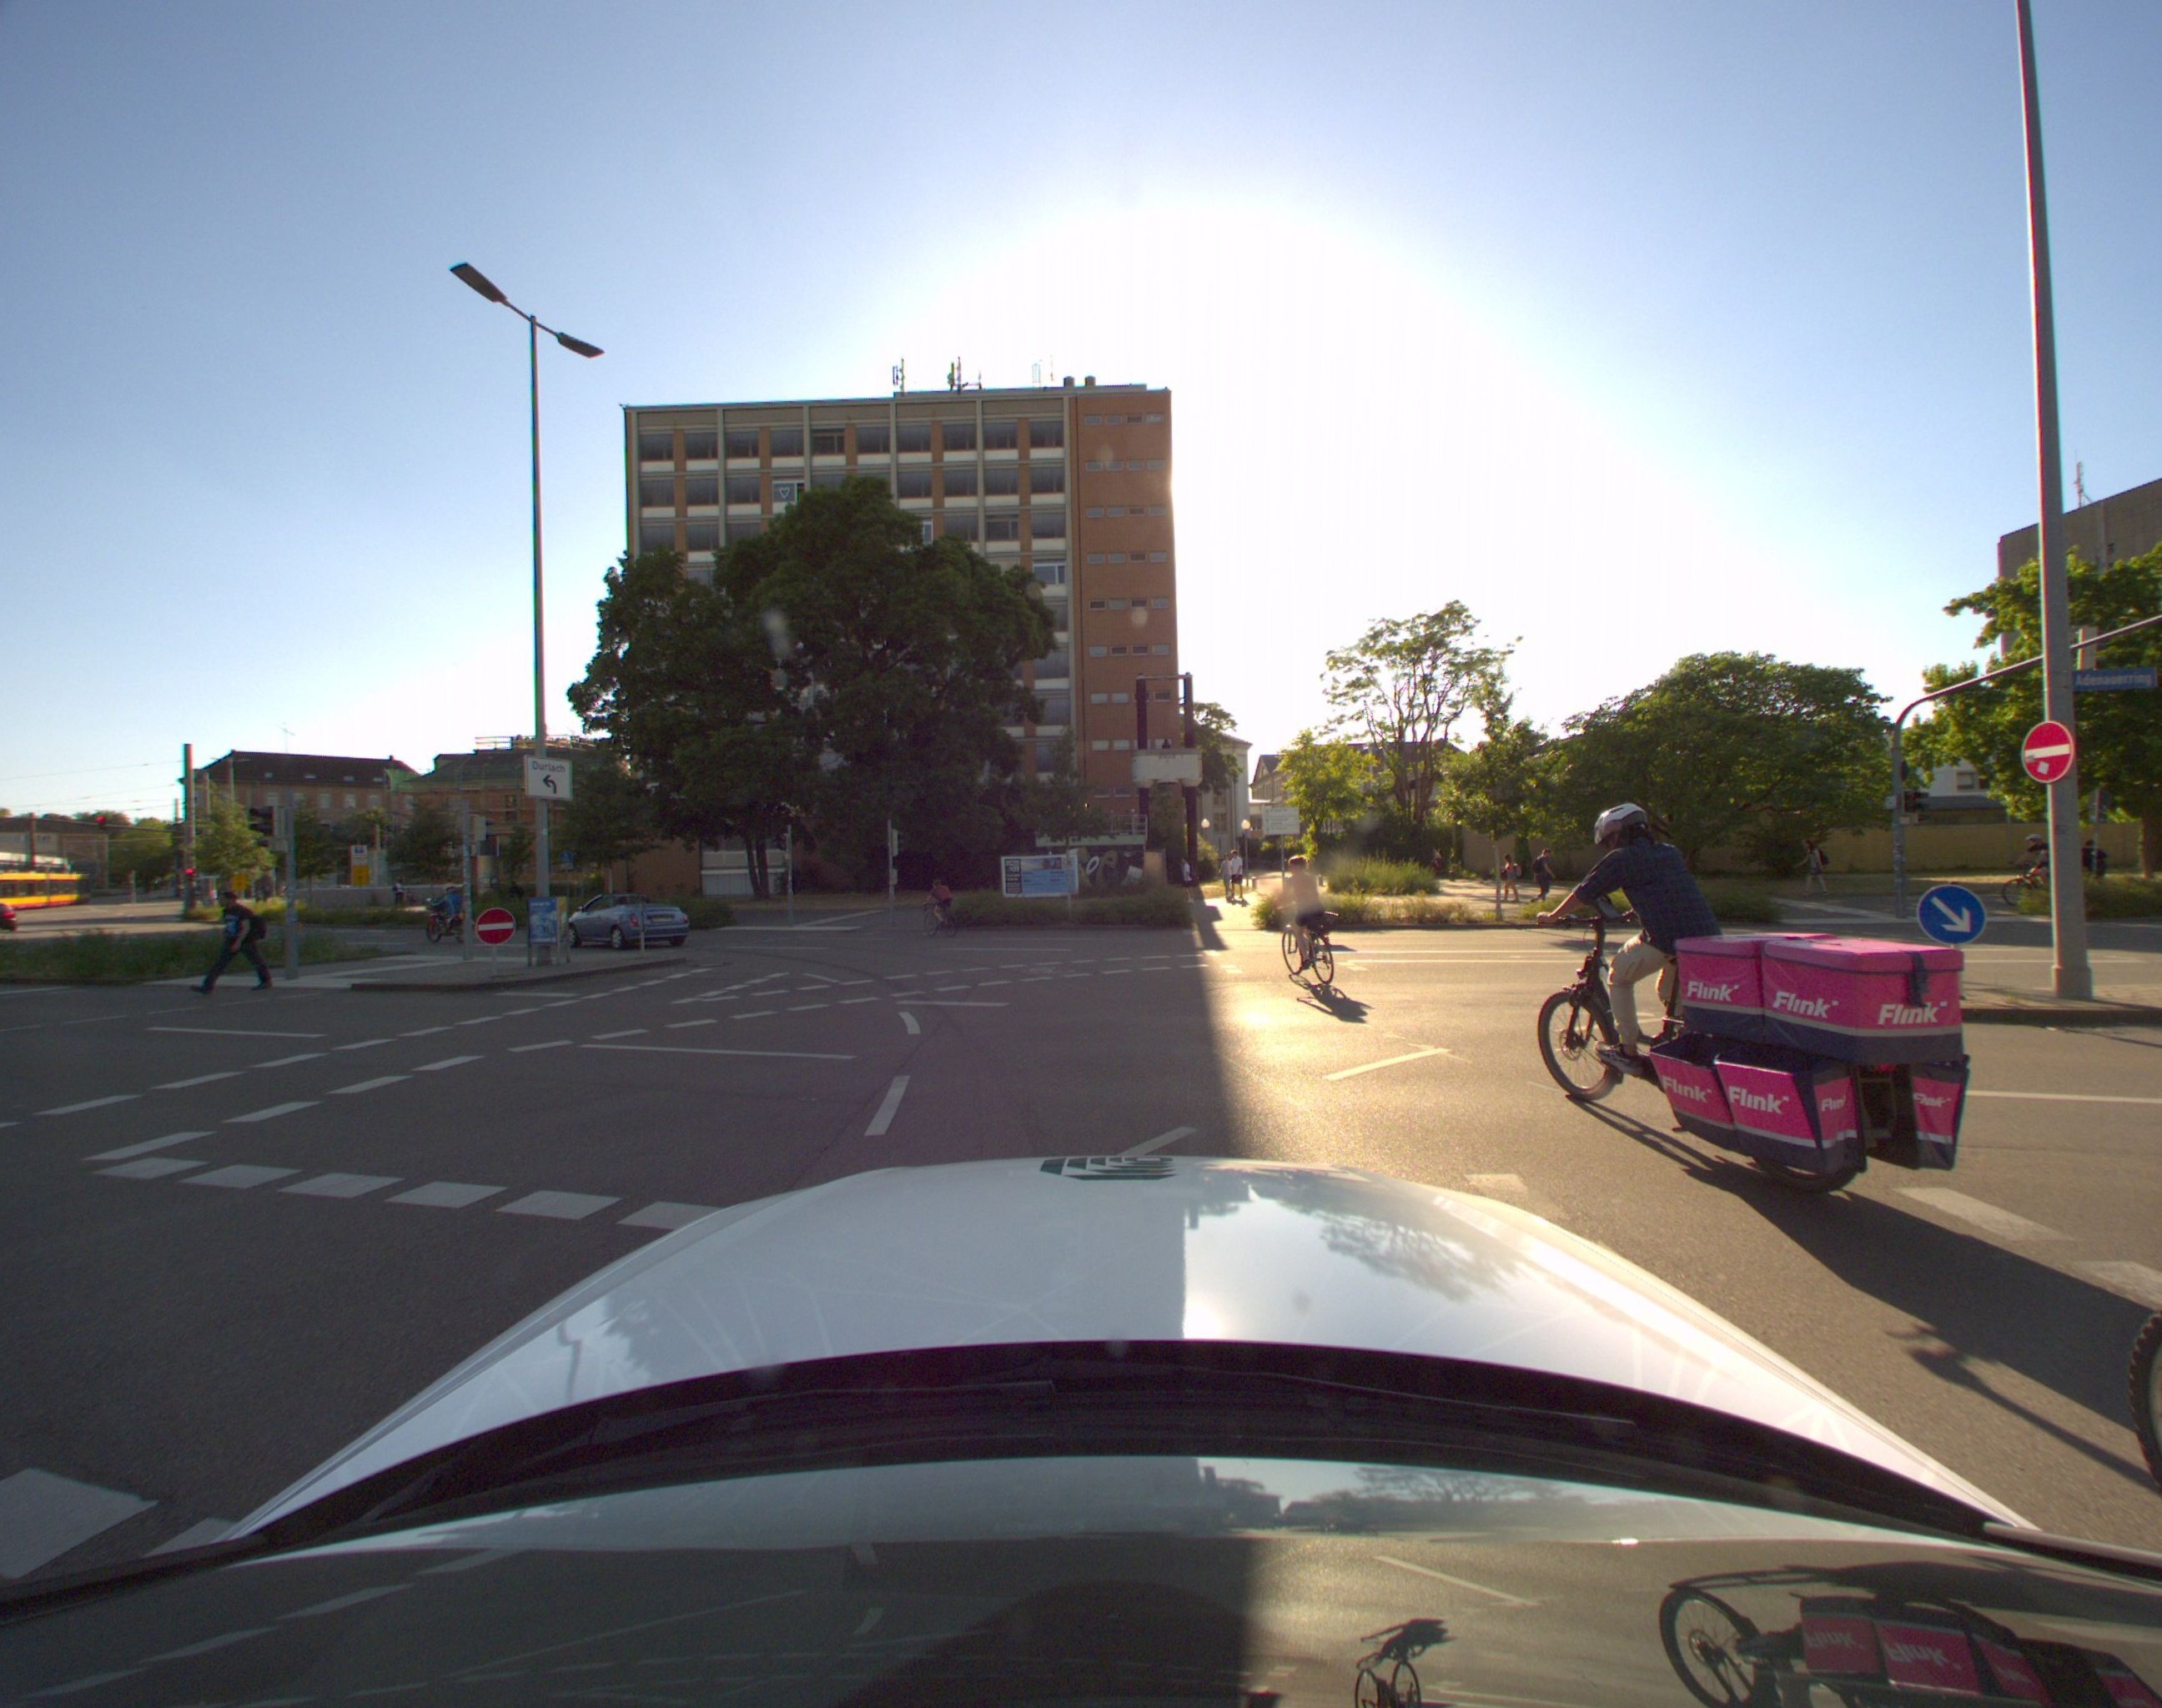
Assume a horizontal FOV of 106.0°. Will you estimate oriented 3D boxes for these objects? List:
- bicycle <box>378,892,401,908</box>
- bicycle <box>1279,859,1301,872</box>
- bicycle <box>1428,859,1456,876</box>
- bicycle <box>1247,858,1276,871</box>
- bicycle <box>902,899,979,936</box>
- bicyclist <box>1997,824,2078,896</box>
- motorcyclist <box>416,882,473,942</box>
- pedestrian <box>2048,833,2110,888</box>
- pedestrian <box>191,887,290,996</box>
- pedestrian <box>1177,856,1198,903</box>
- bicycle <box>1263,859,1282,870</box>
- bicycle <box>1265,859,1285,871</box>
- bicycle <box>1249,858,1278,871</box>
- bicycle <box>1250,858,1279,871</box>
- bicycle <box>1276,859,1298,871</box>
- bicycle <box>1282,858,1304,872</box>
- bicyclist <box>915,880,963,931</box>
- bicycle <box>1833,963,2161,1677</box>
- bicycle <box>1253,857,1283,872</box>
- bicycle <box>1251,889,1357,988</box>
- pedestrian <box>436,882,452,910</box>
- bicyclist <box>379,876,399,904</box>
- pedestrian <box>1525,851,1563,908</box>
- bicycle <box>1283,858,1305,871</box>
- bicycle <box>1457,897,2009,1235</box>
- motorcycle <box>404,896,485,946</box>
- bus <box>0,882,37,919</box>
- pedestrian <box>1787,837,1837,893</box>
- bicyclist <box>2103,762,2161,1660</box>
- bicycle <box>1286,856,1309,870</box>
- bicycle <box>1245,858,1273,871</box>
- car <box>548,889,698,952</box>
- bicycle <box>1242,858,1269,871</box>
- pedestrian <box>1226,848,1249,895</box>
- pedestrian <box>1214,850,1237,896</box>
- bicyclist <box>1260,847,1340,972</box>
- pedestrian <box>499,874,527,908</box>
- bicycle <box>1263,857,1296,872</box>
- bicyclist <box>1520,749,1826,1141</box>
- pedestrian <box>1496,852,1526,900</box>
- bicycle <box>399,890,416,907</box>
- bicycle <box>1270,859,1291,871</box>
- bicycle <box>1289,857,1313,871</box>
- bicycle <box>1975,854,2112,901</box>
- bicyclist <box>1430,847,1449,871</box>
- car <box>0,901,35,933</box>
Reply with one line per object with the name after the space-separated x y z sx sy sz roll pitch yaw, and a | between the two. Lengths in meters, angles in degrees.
-45.987 3.063 54.172 1.937 1.039 0.797 -3 0 40 | bicycle
18.003 0.948 70.100 1.785 1.107 0.501 0 -1 5 | bicycle
21.633 0.798 48.798 1.539 1.024 0.626 0 -1 27 | bicycle
18.793 1.083 84.957 2.857 1.381 0.684 0 -1 5 | bicycle
-3.900 1.756 22.523 2.220 0.952 0.726 -4 -3 35 | bicycle
25.142 0.155 21.425 1.081 1.830 0.784 -2 -1 15 | bicyclist
-19.097 1.735 24.457 0.924 1.721 1.106 -3 -2 33 | motorcyclist
28.825 0.189 23.535 0.842 1.543 0.763 -2 0 0 | pedestrian
-13.897 1.418 13.479 0.739 1.685 0.904 -2 -1 21 | pedestrian
3.936 0.929 30.053 0.624 1.699 0.625 -2 -1 14 | pedestrian
18.454 1.025 78.550 1.785 1.107 0.501 0 -1 5 | bicycle
18.222 1.006 76.625 1.785 1.107 0.501 0 -1 5 | bicycle
18.621 1.067 83.251 2.857 1.381 0.684 0 -1 5 | bicycle
18.558 1.059 82.383 2.857 1.381 0.684 0 -1 5 | bicycle
18.105 0.961 71.559 1.785 1.107 0.501 0 -1 5 | bicycle
17.860 0.912 68.604 1.785 1.107 0.501 0 -1 5 | bicycle
-3.942 1.426 22.559 1.062 1.384 0.726 -4 -3 35 | bicyclist
2.207 0.881 1.118 0.714 1.121 1.872 0 3 5 | bicycle
18.433 1.040 80.345 2.857 1.381 0.684 0 -1 5 | bicycle
3.105 1.135 11.614 0.776 1.156 2.289 -1 0 -2 | bicycle
-39.118 2.568 50.012 0.729 1.659 0.710 2 -4 -39 | pedestrian
-45.989 2.393 54.134 0.882 1.786 0.794 -3 0 40 | bicyclist
14.059 0.764 24.756 0.728 1.713 0.714 -2 -1 6 | pedestrian
17.736 0.879 67.803 1.785 1.107 0.501 0 -1 5 | bicycle
3.131 0.878 4.440 0.776 1.156 2.576 -2 0 -4 | bicycle
-19.153 1.993 24.494 2.618 1.377 1.106 -3 -2 33 | motorcycle
-91.836 3.962 68.437 2.372 2.883 9.474 1 -1 -35 | bus
22.833 0.336 25.447 0.871 1.704 0.676 -2 -1 1 | pedestrian
2.191 0.614 1.036 0.712 1.549 0.851 0 -1 5 | bicyclist
17.559 0.698 66.124 1.785 1.107 0.501 0 -1 5 | bicycle
18.951 1.098 86.549 2.857 1.381 0.684 0 -1 5 | bicycle
-11.961 1.674 21.220 3.926 1.444 1.818 -2 -2 34 | car
18.981 1.116 88.615 2.857 1.381 0.684 0 -1 5 | bicycle
6.290 0.711 32.759 0.579 1.869 0.616 -1 -1 -33 | pedestrian
5.911 0.769 33.315 0.579 1.869 0.616 -1 -1 -33 | pedestrian
3.098 0.751 11.619 0.776 1.677 1.092 -1 0 -3 | bicyclist
-28.729 1.881 41.224 0.780 1.658 0.813 -1 1 22 | pedestrian
18.207 0.990 74.773 2.857 1.381 0.684 0 -1 5 | bicycle
3.117 0.427 4.424 0.776 1.833 1.091 -2 -1 -5 | bicyclist
14.334 0.730 27.161 0.634 1.574 0.624 -2 -1 6 | pedestrian
-45.544 3.019 55.078 0.631 1.039 1.943 -3 0 -33 | bicycle
18.100 0.983 74.008 1.785 1.107 0.501 0 -1 5 | bicycle
17.315 0.758 64.199 1.785 1.107 0.501 0 -1 5 | bicycle
25.232 0.622 21.402 2.266 1.156 0.784 -2 -1 15 | bicycle
21.488 0.282 48.815 0.910 1.434 0.623 0 -1 6 | bicyclist
-52.584 3.047 39.504 3.926 1.444 1.818 -2 -2 32 | car
